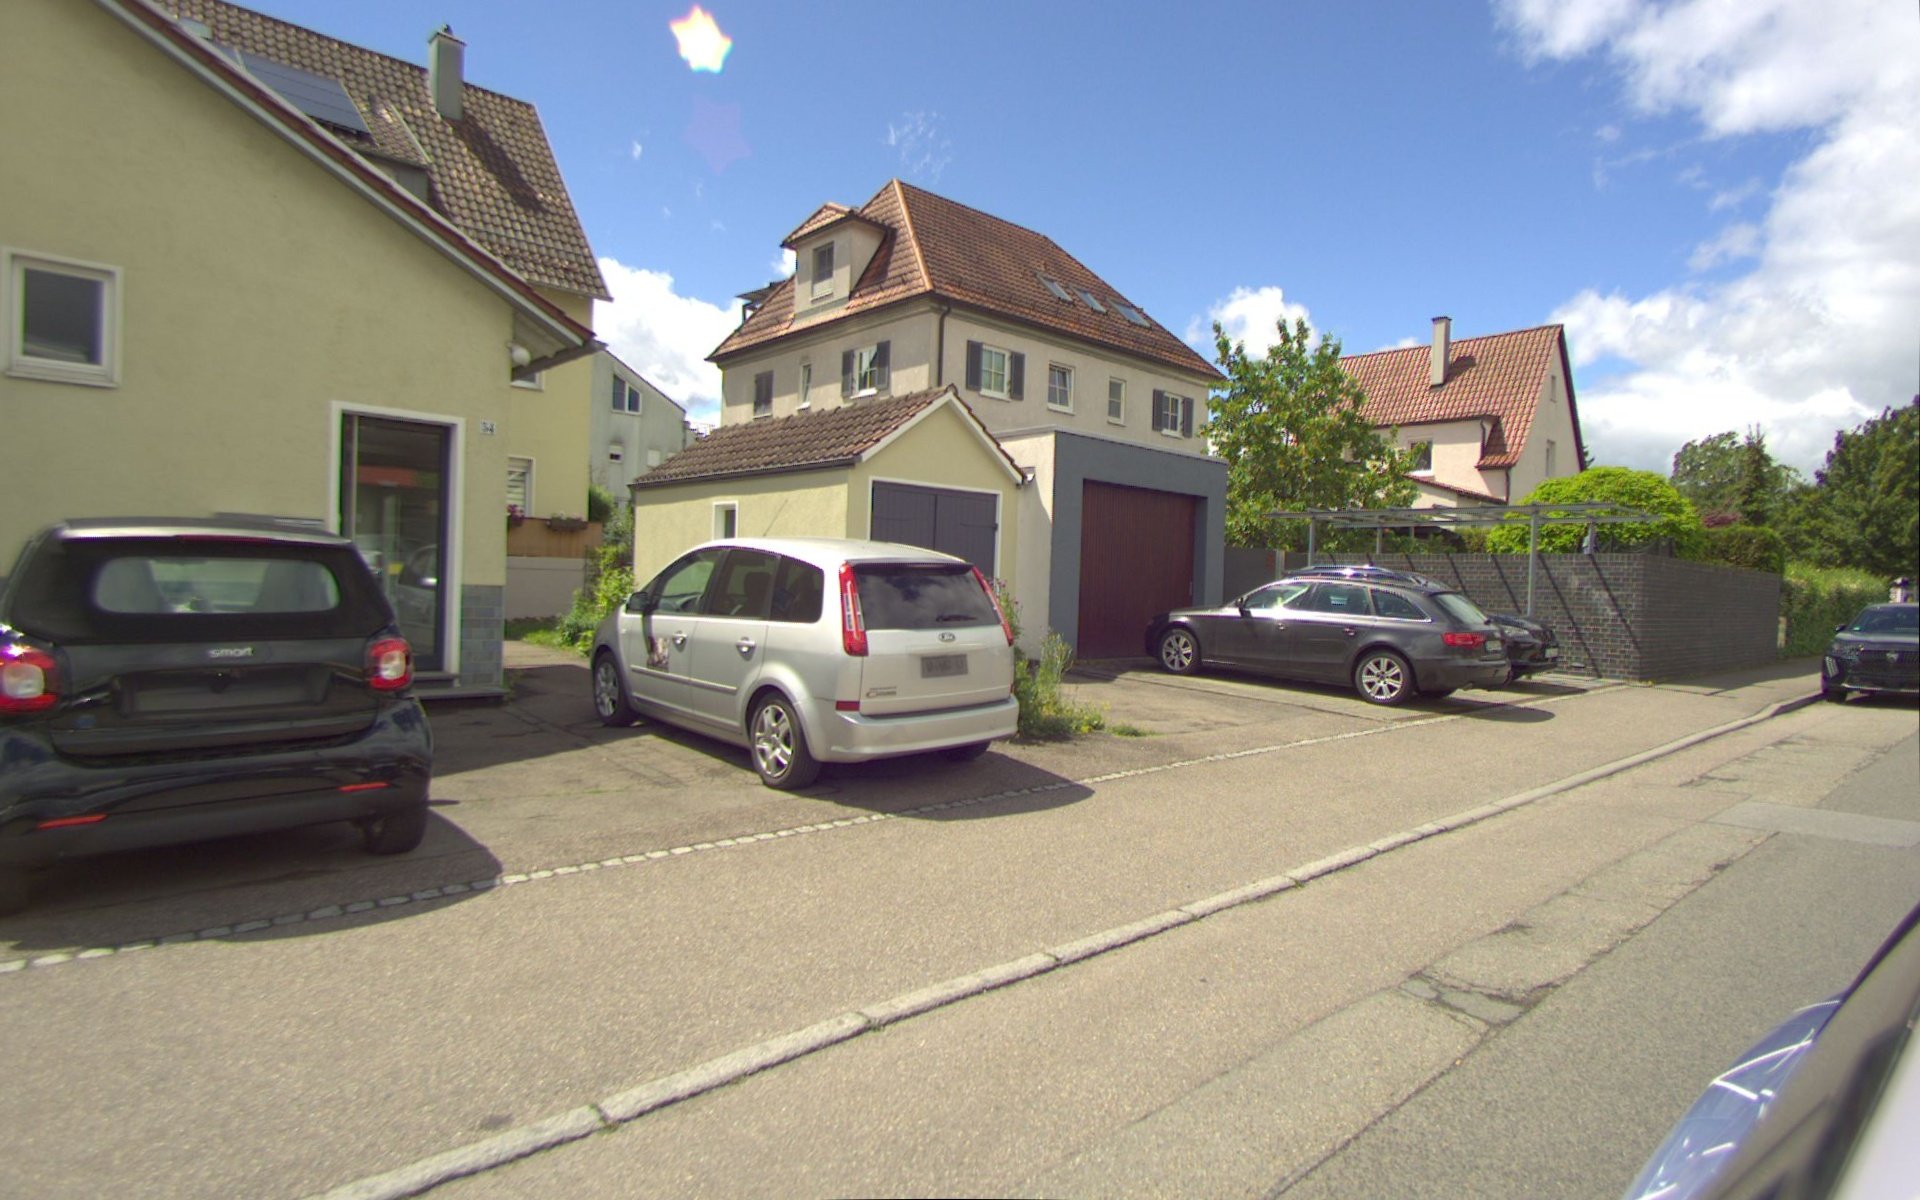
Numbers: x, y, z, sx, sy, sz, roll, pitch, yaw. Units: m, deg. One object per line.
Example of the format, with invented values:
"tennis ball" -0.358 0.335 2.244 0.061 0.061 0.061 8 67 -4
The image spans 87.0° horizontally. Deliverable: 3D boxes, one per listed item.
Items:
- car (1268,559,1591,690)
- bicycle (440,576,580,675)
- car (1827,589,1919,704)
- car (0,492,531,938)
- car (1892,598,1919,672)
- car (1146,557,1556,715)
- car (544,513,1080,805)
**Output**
"car" 6.967 0.259 15.301 1.823 1.634 4.008 0 3 -43
"bicycle" -5.445 0.257 12.134 0.695 1.026 2.572 0 2 -44
"car" 14.789 0.637 15.413 4.241 1.577 1.788 0 1 -41
"car" -3.736 0.295 5.151 1.942 1.543 2.892 0 5 -44
"car" 20.351 0.706 20.616 3.486 1.449 1.575 0 2 -41
"car" 4.794 0.310 12.901 1.942 1.424 4.414 0 5 -44
"car" -1.417 0.191 7.945 1.942 1.543 4.414 0 5 -44
